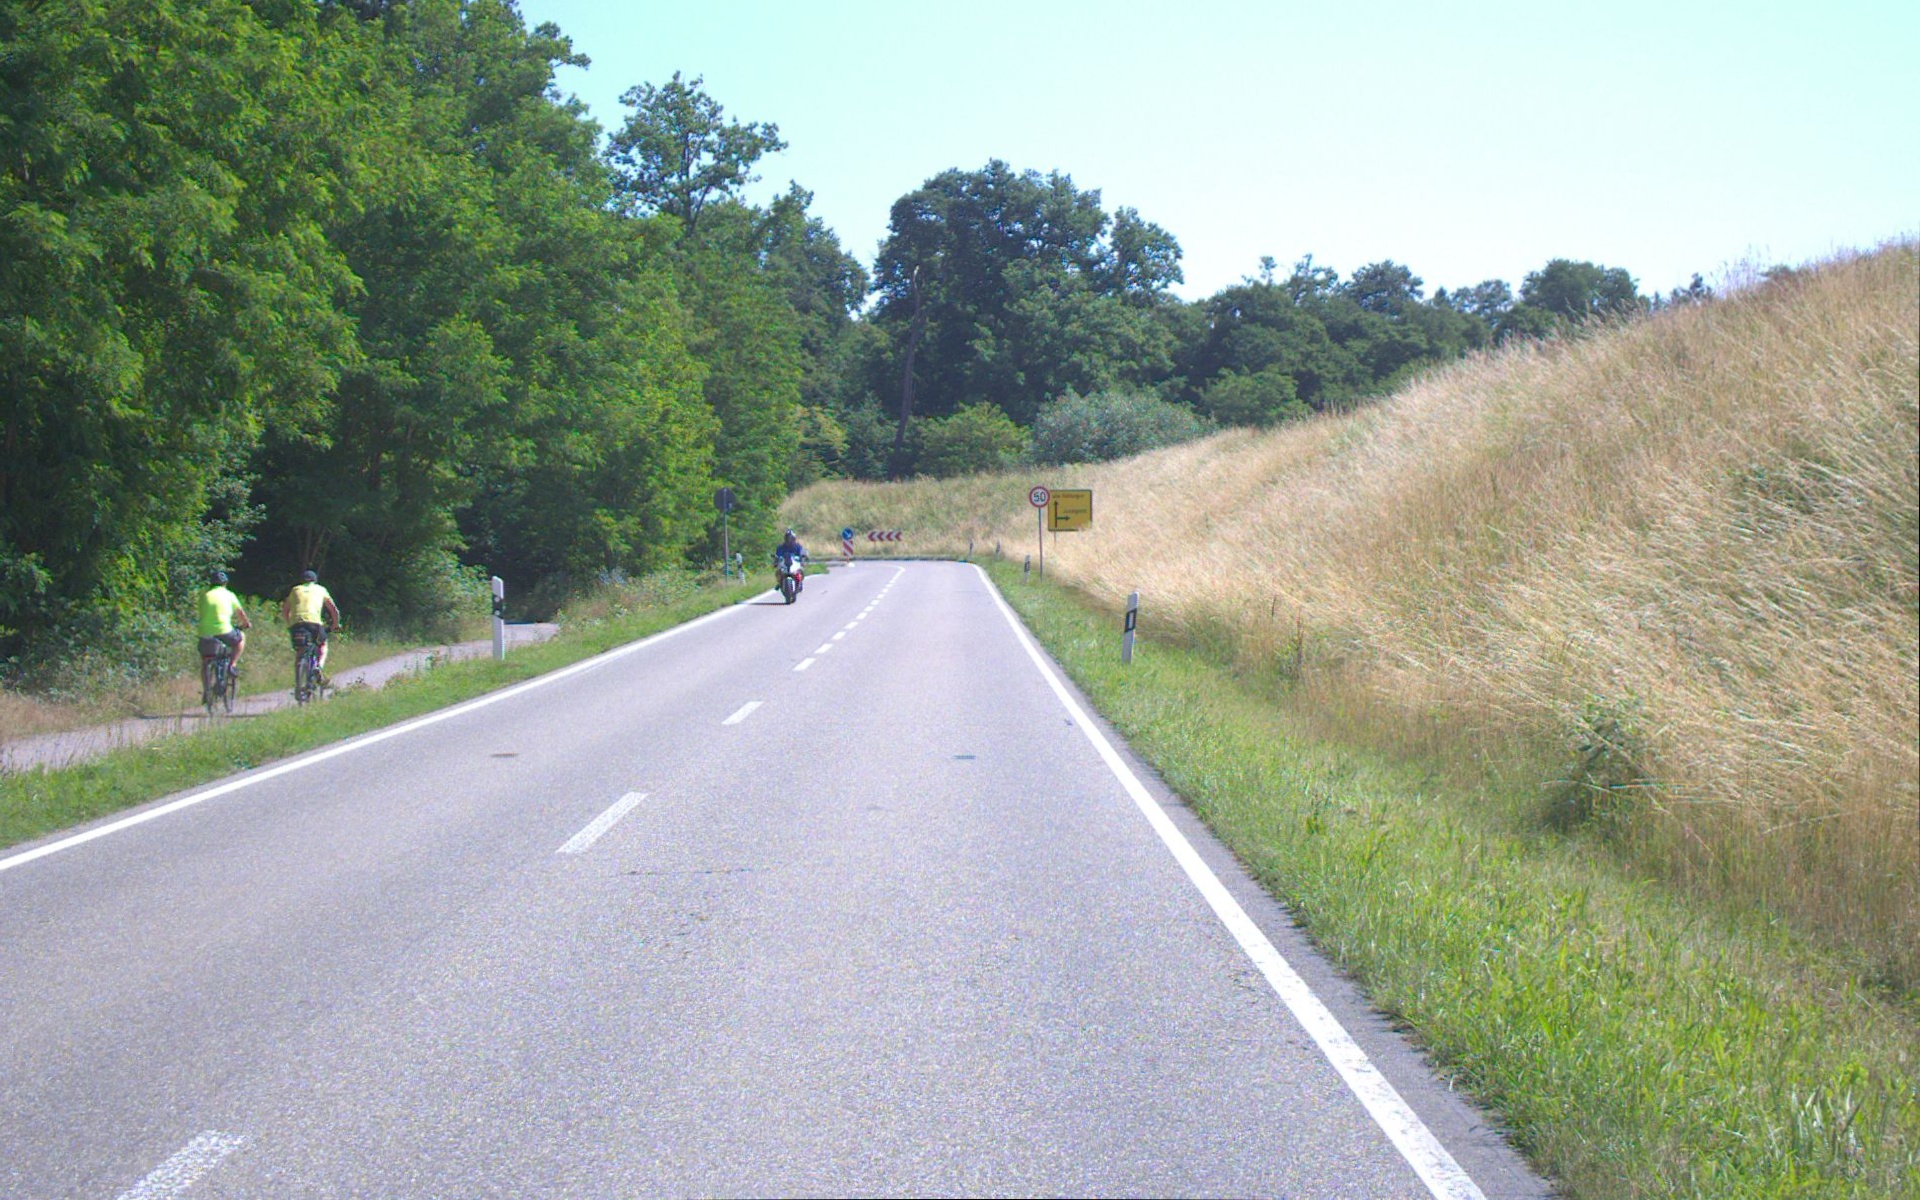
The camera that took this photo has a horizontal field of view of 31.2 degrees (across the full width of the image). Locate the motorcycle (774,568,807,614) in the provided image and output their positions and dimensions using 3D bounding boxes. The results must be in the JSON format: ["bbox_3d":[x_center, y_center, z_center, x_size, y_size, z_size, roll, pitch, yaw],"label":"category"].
[{"bbox_3d":[-3.724,-0.203,75.634,0.639,0.981,2.006,-2,1,-1],"label":"motorcycle"}]

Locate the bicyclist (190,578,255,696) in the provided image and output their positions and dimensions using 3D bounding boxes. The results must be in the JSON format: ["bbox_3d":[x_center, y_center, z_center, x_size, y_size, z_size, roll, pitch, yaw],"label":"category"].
[{"bbox_3d":[-9.016,0.457,42.065,0.605,1.411,0.702,2,-1,0],"label":"bicyclist"}]

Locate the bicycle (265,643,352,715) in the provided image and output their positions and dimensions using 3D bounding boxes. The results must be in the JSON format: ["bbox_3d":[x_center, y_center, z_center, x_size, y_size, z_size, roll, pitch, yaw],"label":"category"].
[{"bbox_3d":[-7.925,0.949,41.901,0.640,0.785,2.137,-1,1,0],"label":"bicycle"}]

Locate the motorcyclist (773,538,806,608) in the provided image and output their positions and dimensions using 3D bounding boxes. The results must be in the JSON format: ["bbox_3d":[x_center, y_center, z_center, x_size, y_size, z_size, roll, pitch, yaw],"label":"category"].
[{"bbox_3d":[-3.748,-0.591,75.793,0.659,1.523,0.814,-2,-1,-2],"label":"motorcyclist"}]

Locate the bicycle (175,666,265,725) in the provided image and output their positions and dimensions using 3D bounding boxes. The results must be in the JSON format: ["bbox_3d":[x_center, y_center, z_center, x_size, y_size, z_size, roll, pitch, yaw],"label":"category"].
[{"bbox_3d":[-9.042,1.161,42.070,0.619,0.679,2.136,2,-1,0],"label":"bicycle"}]

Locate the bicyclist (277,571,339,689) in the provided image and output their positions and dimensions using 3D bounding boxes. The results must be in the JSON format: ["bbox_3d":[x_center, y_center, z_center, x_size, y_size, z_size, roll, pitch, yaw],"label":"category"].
[{"bbox_3d":[-7.946,0.364,41.924,0.605,1.410,0.702,-1,1,0],"label":"bicyclist"}]
